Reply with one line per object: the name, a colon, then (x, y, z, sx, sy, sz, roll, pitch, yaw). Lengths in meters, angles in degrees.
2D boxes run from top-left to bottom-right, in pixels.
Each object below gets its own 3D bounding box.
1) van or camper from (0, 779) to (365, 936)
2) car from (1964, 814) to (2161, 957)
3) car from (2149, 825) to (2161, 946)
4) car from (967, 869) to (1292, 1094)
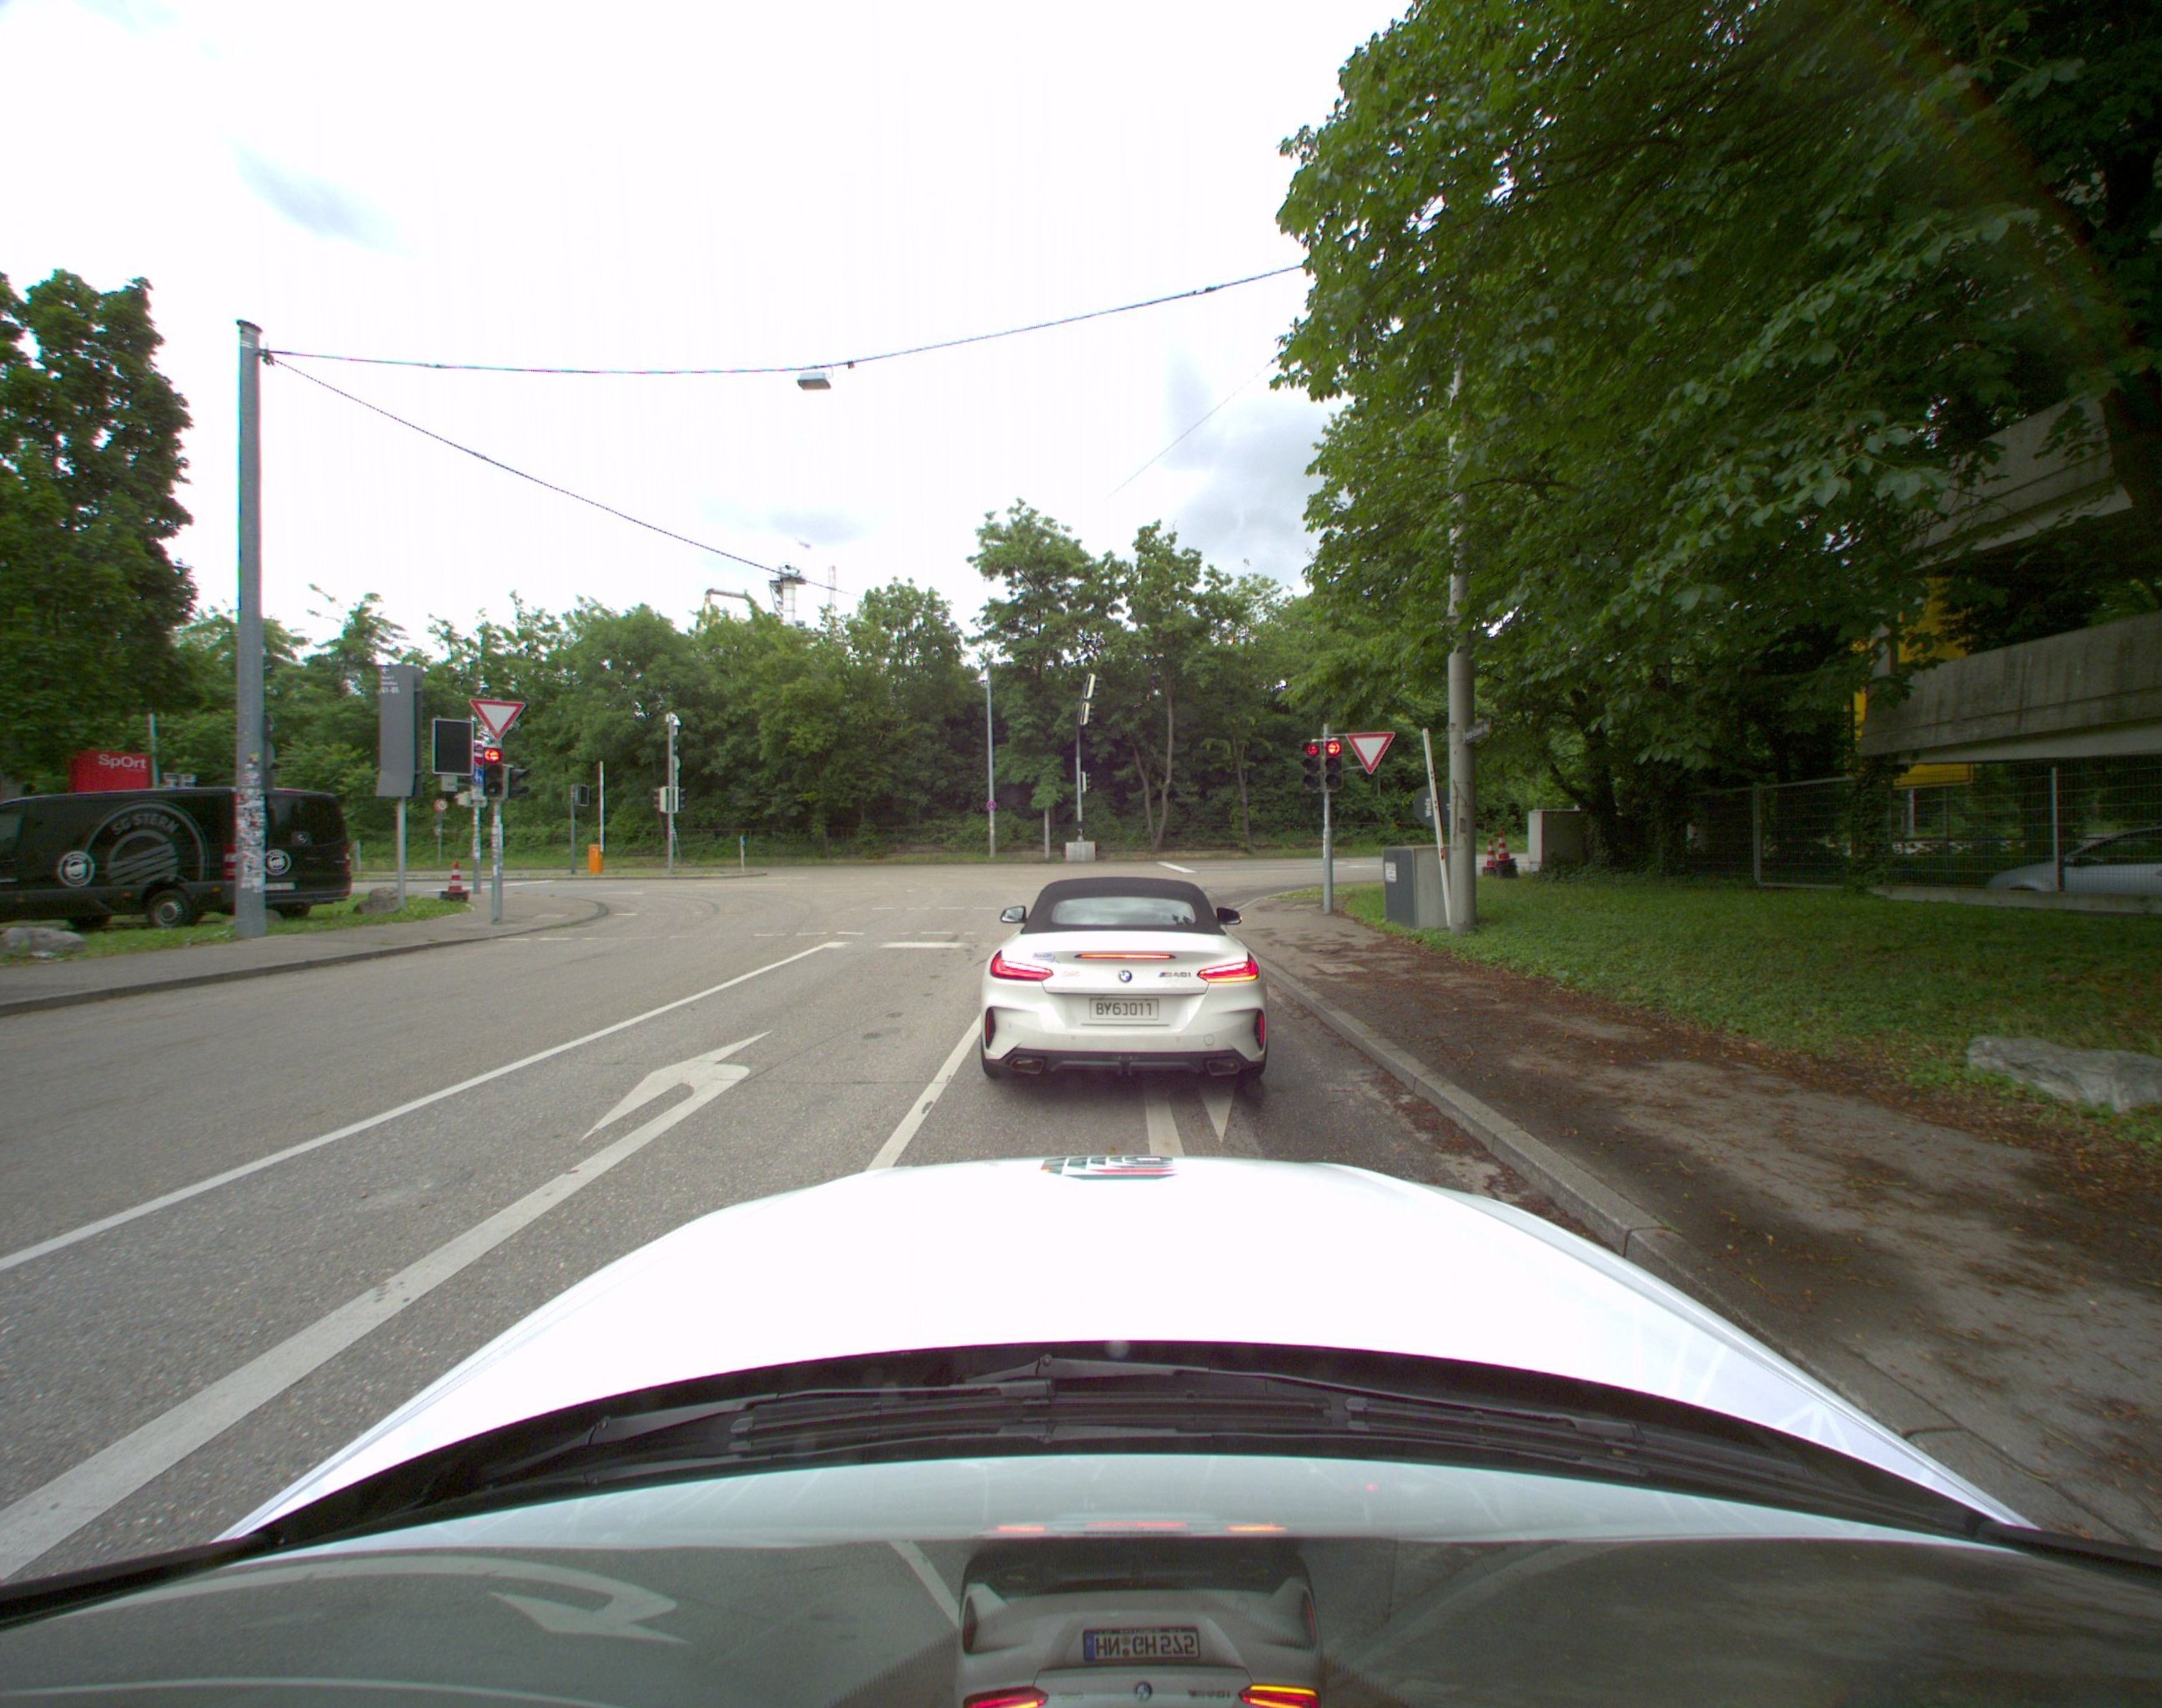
van or camper: (-15.895, 0.121, 13.946, 5.513, 2.314, 2.063, -2, -2, 2)
car: (13.607, 0.388, 10.037, 1.475, 1.708, 3.720, 0, -1, 2)
car: (16.001, 0.414, 9.729, 1.574, 1.708, 3.770, 0, -1, 2)
car: (0.274, 0.761, 6.579, 1.822, 1.257, 3.999, 0, -1, 0)
